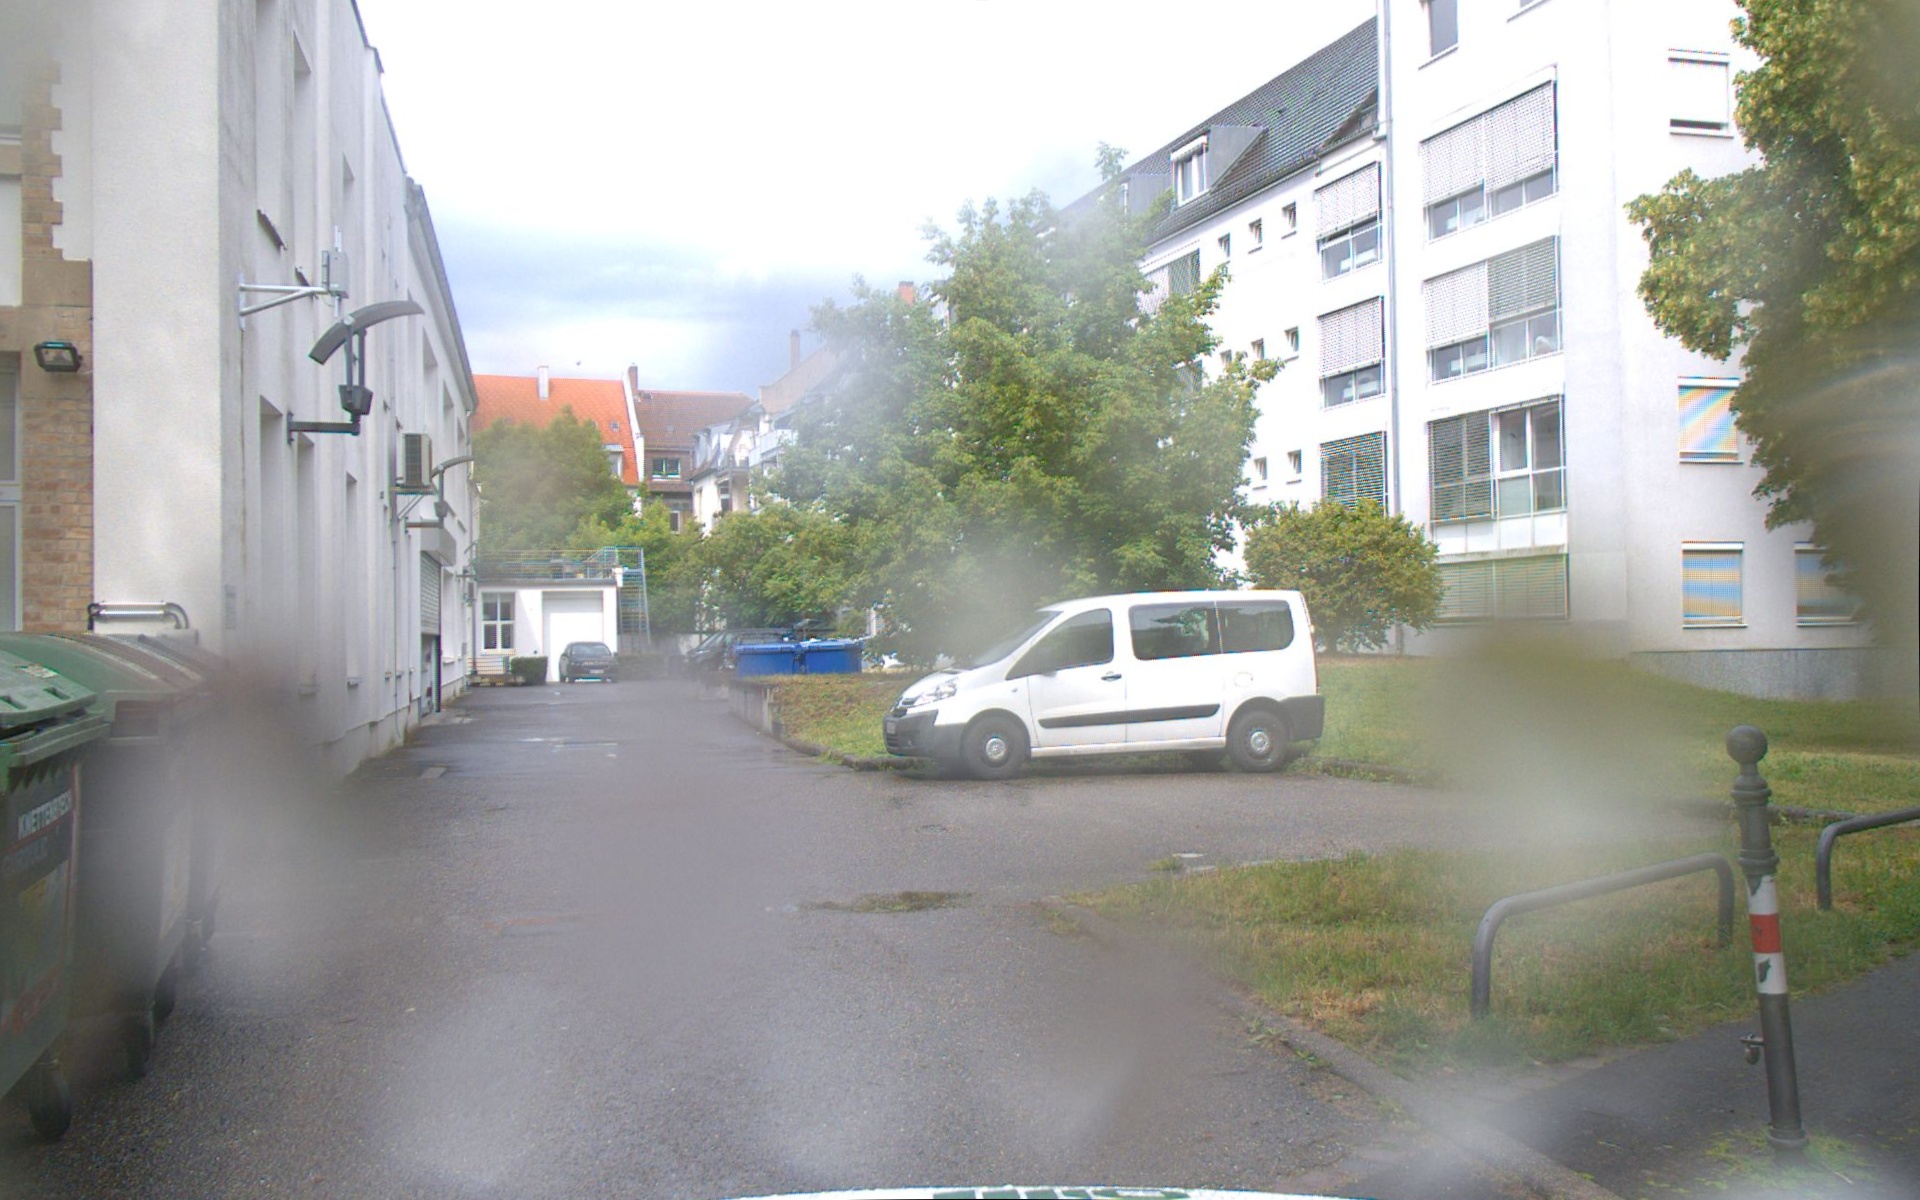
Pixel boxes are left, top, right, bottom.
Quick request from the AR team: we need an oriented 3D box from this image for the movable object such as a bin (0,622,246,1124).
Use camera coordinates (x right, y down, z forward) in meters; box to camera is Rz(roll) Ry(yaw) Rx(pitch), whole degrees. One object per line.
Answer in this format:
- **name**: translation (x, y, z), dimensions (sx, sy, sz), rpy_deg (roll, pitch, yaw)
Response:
- **movable object such as a bin**: translation (-3.200, 0.875, 5.782), dimensions (1.147, 1.509, 1.488), rpy_deg (-2, -2, -20)

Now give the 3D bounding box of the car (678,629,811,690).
- **car**: translation (-8.220, 2.244, 63.105), dimensions (4.578, 2.038, 2.207), rpy_deg (-2, -1, -26)

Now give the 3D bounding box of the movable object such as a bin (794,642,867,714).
- **movable object such as a bin**: translation (-2.607, 1.554, 33.178), dimensions (1.270, 1.360, 1.193), rpy_deg (-2, -2, -13)

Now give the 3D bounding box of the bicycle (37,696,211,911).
- **bicycle**: translation (-5.022, 1.178, 10.018), dimensions (0.605, 1.135, 1.514), rpy_deg (-2, -2, -15)

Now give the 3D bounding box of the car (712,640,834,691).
- **car**: translation (-6.489, 2.269, 57.327), dimensions (3.852, 1.540, 1.741), rpy_deg (-2, -2, -20)

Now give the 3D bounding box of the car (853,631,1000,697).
- **car**: translation (-0.869, 1.640, 42.321), dimensions (3.362, 1.452, 1.679), rpy_deg (-3, -2, -18)

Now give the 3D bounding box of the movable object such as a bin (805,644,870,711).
- **movable object such as a bin**: translation (-2.595, 1.626, 34.971), dimensions (1.166, 1.327, 1.102), rpy_deg (-2, -2, -14)

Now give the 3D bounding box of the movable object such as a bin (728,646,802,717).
- **movable object such as a bin**: translation (-3.863, 1.608, 32.773), dimensions (1.314, 1.314, 1.092), rpy_deg (-2, -1, -13)

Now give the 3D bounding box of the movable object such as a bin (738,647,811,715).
- **movable object such as a bin**: translation (-3.876, 1.678, 34.454), dimensions (1.348, 1.327, 1.079), rpy_deg (-2, -2, -13)

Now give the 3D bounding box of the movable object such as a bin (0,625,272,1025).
- **movable object such as a bin**: translation (-3.719, 0.909, 7.274), dimensions (1.147, 1.509, 1.585), rpy_deg (-2, -2, -20)

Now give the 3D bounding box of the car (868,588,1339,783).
- **car**: translation (1.516, 0.905, 18.303), dimensions (4.789, 1.960, 2.092), rpy_deg (0, -3, -13)

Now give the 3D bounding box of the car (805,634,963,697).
- **car**: translation (-2.083, 1.760, 45.072), dimensions (3.926, 1.471, 1.797), rpy_deg (-2, -1, -19)

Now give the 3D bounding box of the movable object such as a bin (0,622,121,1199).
- **movable object such as a bin**: translation (-2.948, 0.823, 4.322), dimensions (1.147, 1.509, 1.395), rpy_deg (-1, -1, -19)

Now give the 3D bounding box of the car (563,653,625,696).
- **car**: translation (-13.571, 2.736, 61.174), dimensions (1.948, 1.469, 3.981), rpy_deg (-1, -1, -17)

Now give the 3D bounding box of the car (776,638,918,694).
- **car**: translation (-3.412, 1.992, 50.038), dimensions (3.929, 1.484, 1.762), rpy_deg (-2, -2, -21)

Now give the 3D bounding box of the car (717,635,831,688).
- **car**: translation (-6.823, 2.260, 60.636), dimensions (3.847, 1.717, 1.808), rpy_deg (-2, -2, -17)
